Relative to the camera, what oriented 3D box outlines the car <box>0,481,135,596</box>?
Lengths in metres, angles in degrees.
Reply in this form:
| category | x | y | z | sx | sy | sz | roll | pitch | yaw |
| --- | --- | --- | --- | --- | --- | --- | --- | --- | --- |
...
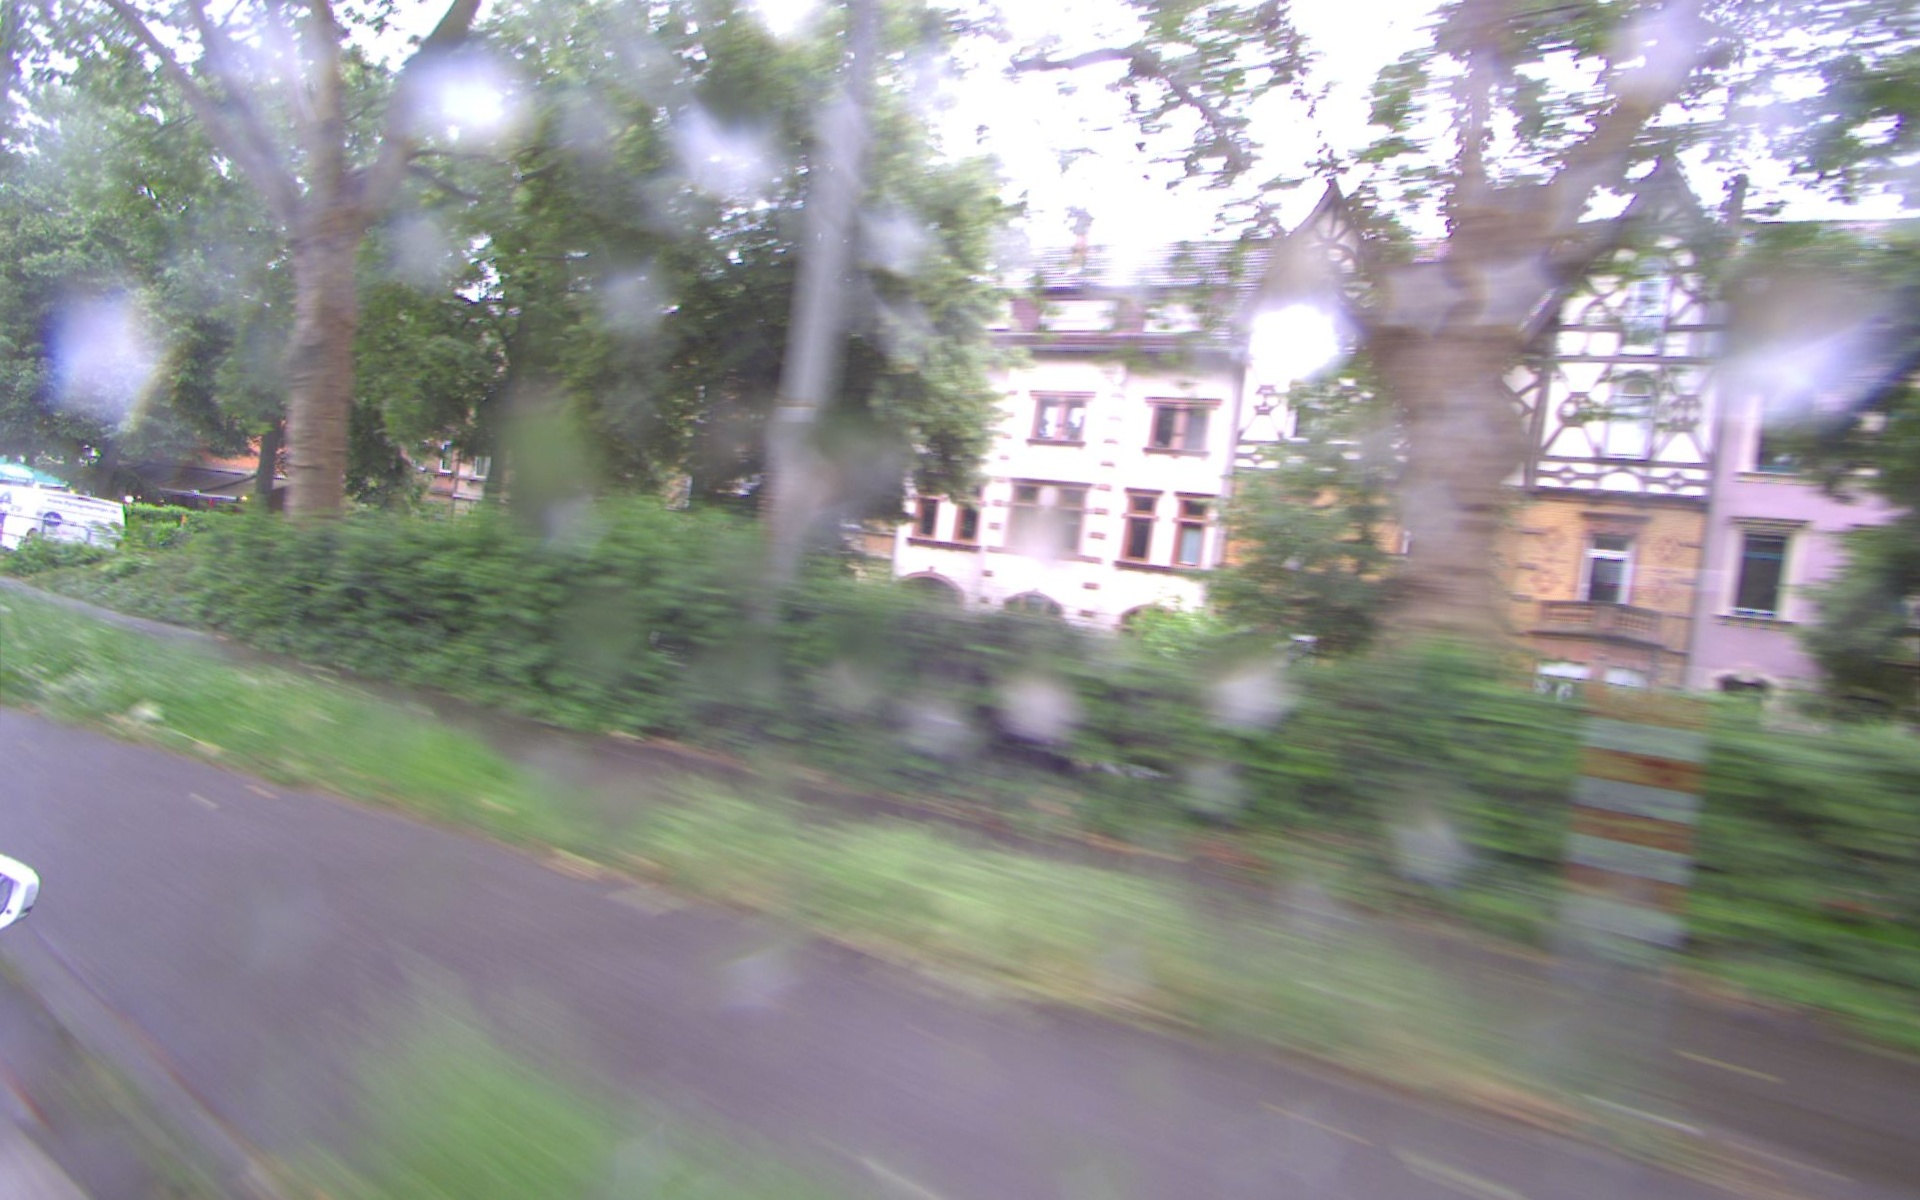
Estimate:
| category | x | y | z | sx | sy | sz | roll | pitch | yaw |
| --- | --- | --- | --- | --- | --- | --- | --- | --- | --- |
| car | -25.088 | -1.782 | 27.121 | 5.676 | 2.565 | 2.183 | 8 | 1 | 27 |

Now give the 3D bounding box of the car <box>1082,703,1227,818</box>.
| category | x | y | z | sx | sy | sz | roll | pitch | yaw |
| --- | --- | --- | --- | --- | --- | --- | --- | --- | --- |
| car | 3.781 | 3.134 | 20.271 | 1.883 | 1.433 | 3.799 | 7 | 1 | -3 |

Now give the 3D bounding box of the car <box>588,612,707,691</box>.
| category | x | y | z | sx | sy | sz | roll | pitch | yaw |
| --- | --- | --- | --- | --- | --- | --- | --- | --- | --- |
| car | -8.053 | 1.272 | 26.275 | 1.883 | 1.579 | 3.799 | 7 | 1 | -3 |
